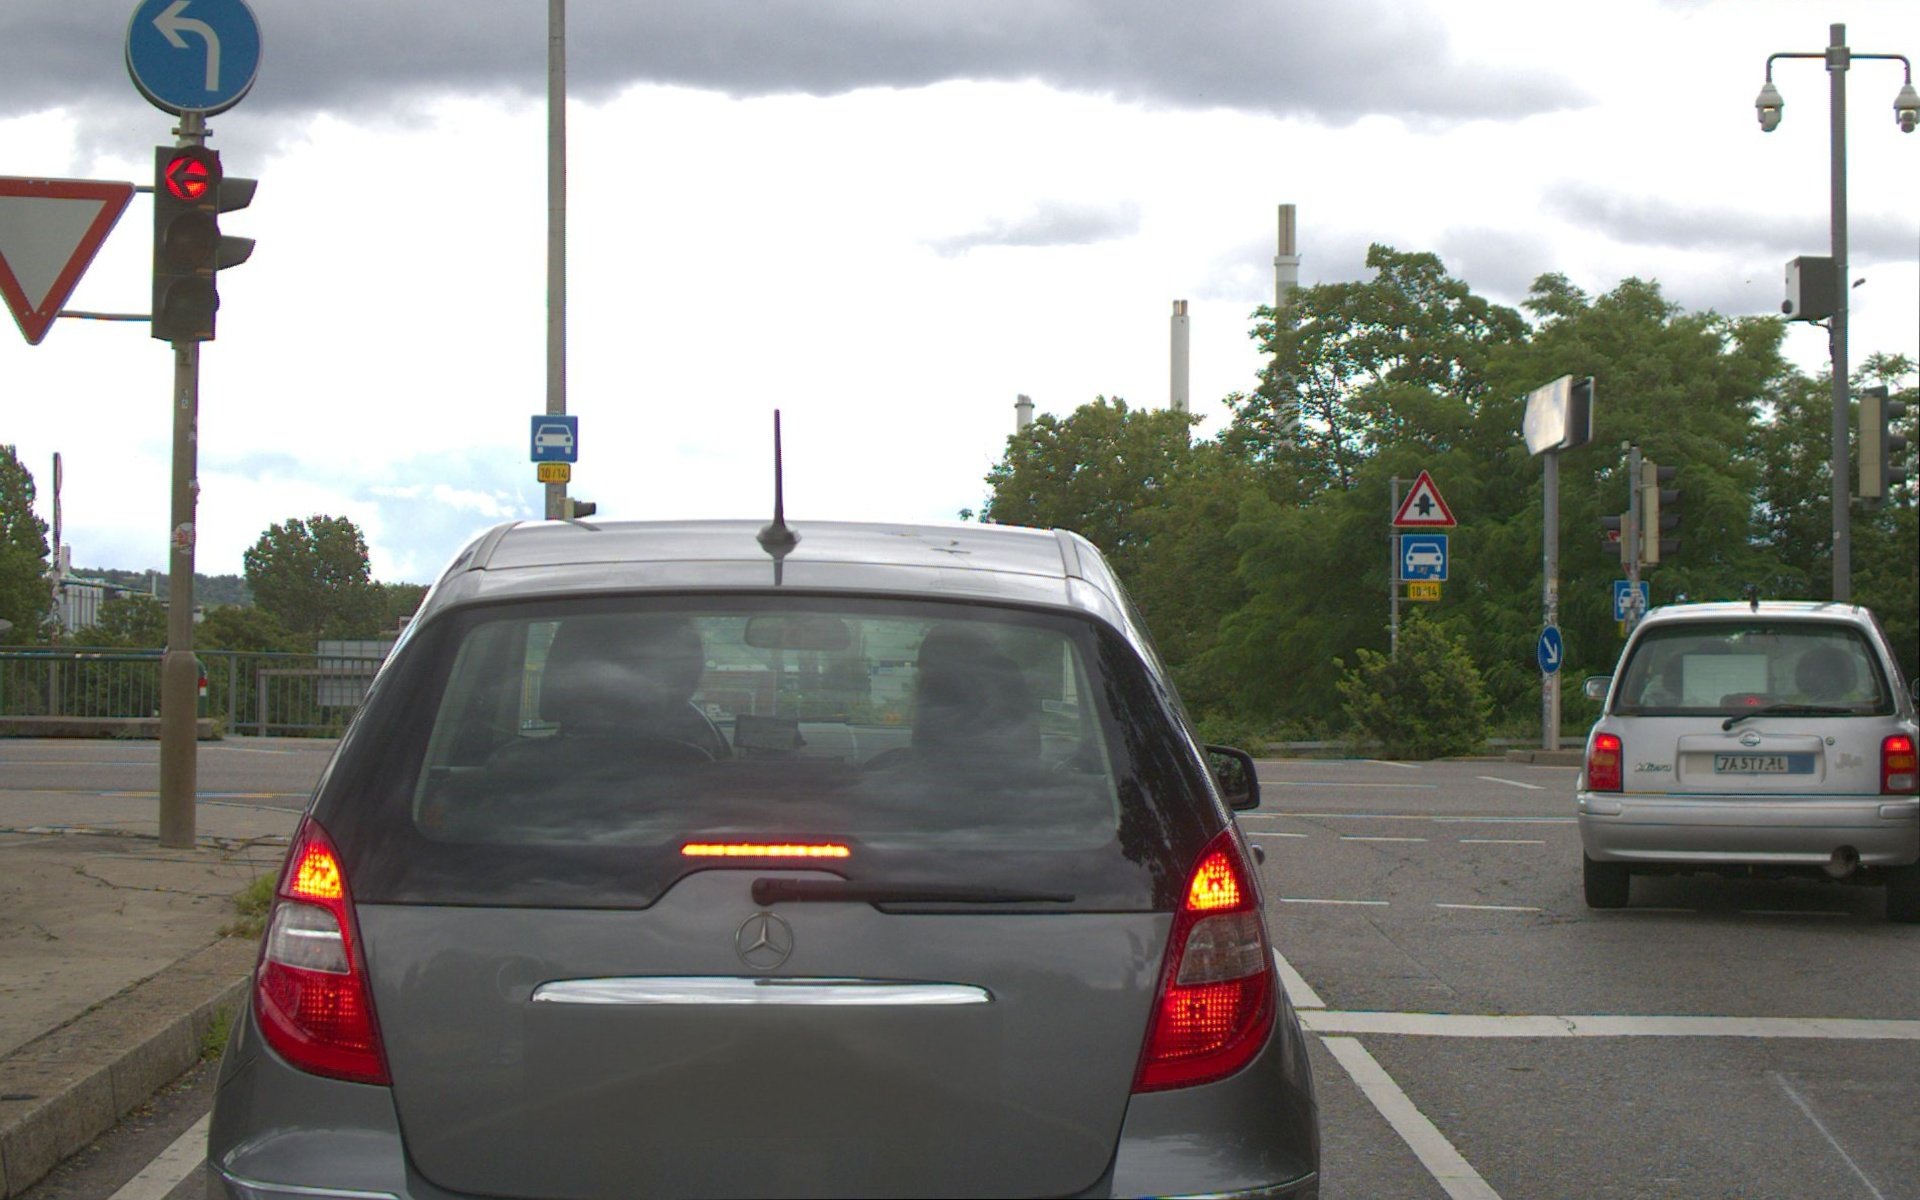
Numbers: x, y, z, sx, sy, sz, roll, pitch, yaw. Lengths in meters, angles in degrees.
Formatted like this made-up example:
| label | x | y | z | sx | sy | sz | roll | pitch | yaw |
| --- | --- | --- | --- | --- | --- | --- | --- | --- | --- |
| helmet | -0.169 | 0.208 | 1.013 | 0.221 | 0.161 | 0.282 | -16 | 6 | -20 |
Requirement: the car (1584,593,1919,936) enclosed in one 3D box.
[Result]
| label | x | y | z | sx | sy | sz | roll | pitch | yaw |
| --- | --- | --- | --- | --- | --- | --- | --- | --- | --- |
| car | 3.803 | 0.700 | 16.478 | 1.586 | 1.427 | 3.441 | 0 | 1 | 10 |

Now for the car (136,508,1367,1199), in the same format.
| label | x | y | z | sx | sy | sz | roll | pitch | yaw |
| --- | --- | --- | --- | --- | --- | --- | --- | --- | --- |
| car | -0.315 | 0.632 | 6.668 | 1.739 | 1.538 | 3.541 | 1 | 1 | 0 |
